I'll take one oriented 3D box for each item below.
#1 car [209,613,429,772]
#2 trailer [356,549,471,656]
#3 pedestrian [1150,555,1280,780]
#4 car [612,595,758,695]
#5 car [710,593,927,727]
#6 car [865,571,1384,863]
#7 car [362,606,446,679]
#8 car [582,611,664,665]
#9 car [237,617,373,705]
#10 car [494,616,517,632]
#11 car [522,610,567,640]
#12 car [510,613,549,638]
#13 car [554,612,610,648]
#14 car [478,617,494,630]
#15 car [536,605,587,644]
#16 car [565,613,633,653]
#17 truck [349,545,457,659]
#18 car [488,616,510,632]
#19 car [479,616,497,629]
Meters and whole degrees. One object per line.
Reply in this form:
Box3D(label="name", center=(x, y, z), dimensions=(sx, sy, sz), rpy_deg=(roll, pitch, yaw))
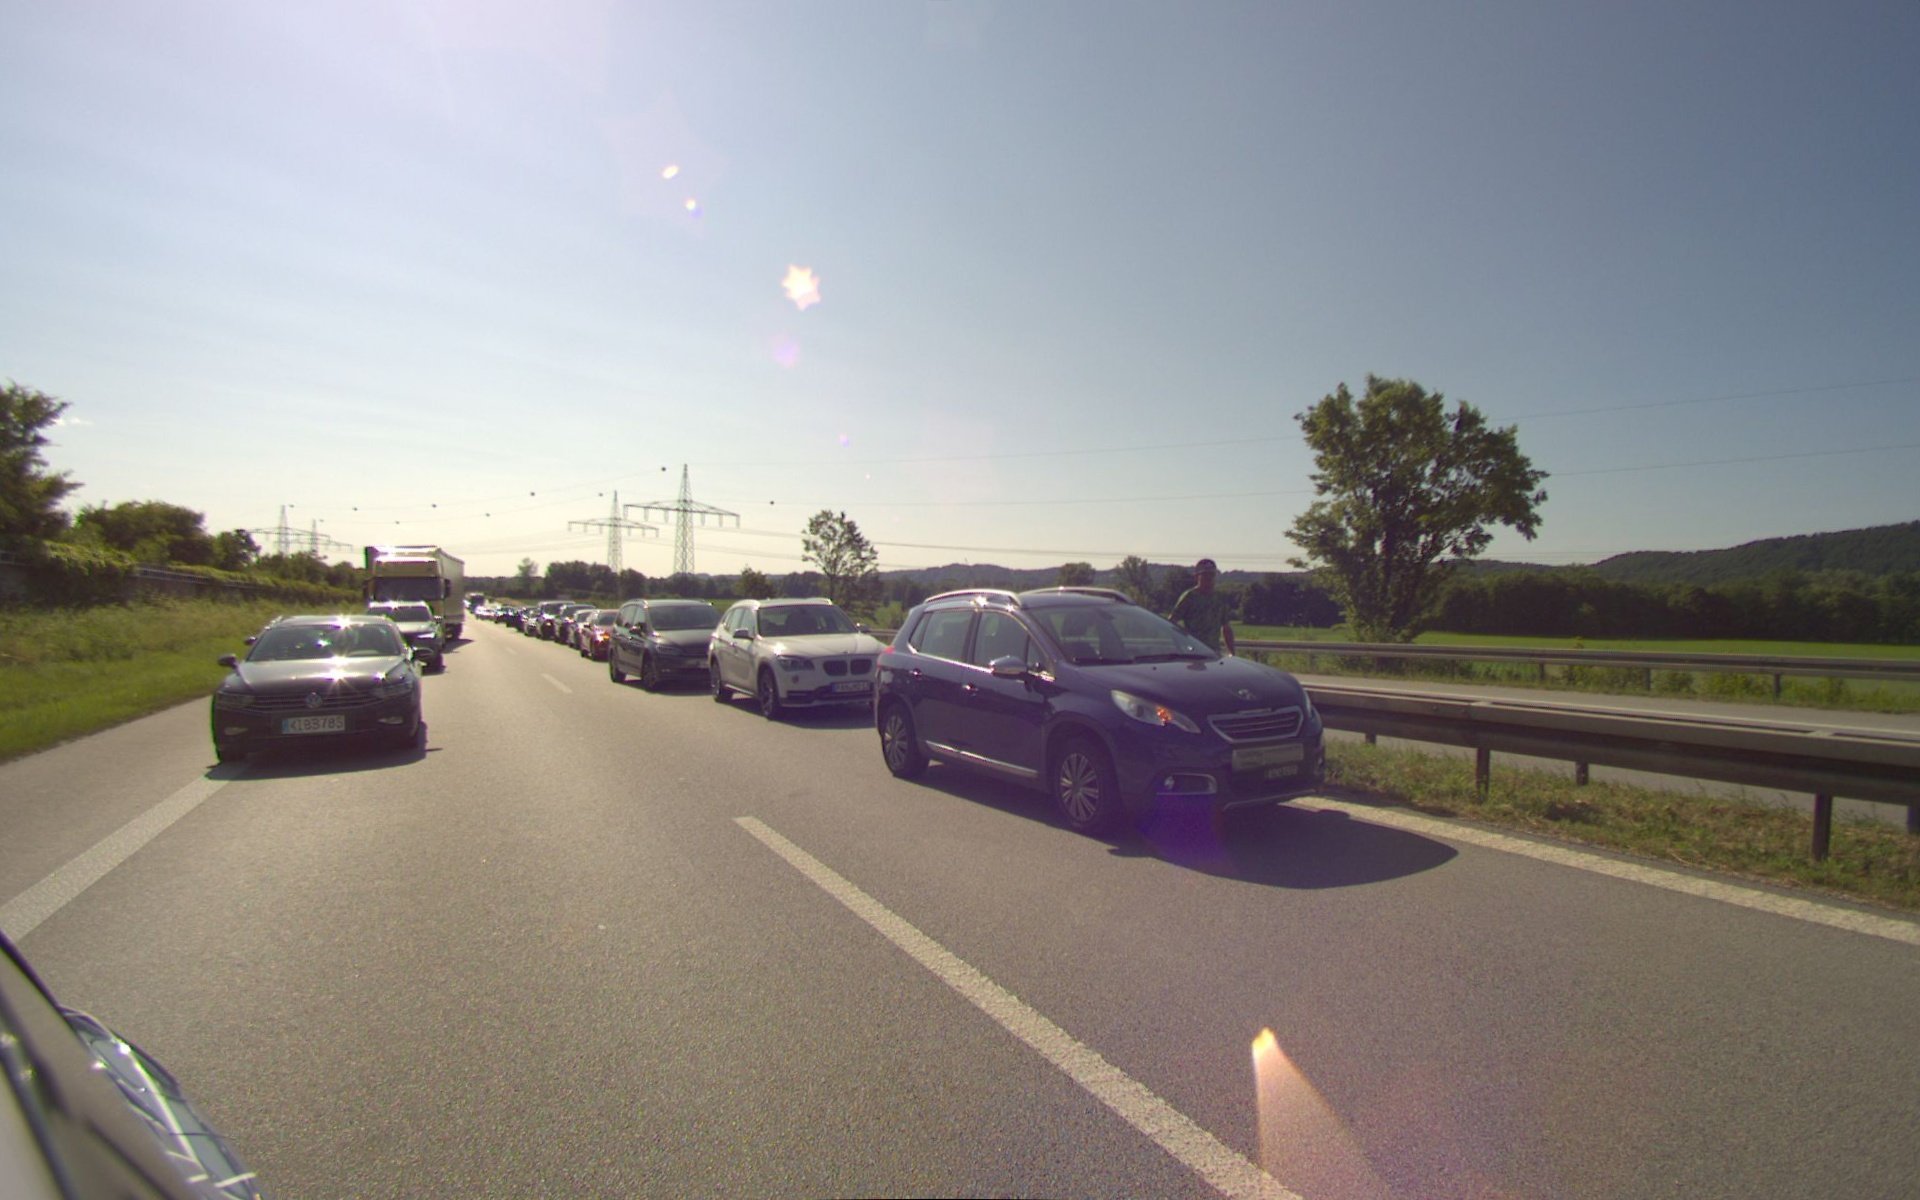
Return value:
Box3D(label="car", center=(-7.150, 0.893, 11.690), dimensions=(1.688, 1.424, 4.339), rpy_deg=(-1, 0, -27))
Box3D(label="trailer", center=(-24.617, 0.081, 46.351), dimensions=(3.332, 4.144, 13.999), rpy_deg=(-1, 0, -23))
Box3D(label="pedestrian", center=(2.108, 0.534, 8.427), dimensions=(0.661, 1.763, 0.817), rpy_deg=(0, -1, -26))
Box3D(label="car", center=(-5.312, 0.780, 19.178), dimensions=(1.790, 1.628, 4.130), rpy_deg=(-1, 0, -27))
Box3D(label="car", center=(-2.166, 0.742, 14.316), dimensions=(1.802, 1.586, 4.177), rpy_deg=(0, -1, -26))
Box3D(label="car", center=(0.902, 0.645, 7.581), dimensions=(1.664, 1.546, 3.961), rpy_deg=(-2, 0, -30))
Box3D(label="car", center=(-14.094, 1.022, 25.843), dimensions=(1.688, 1.636, 4.339), rpy_deg=(-1, 0, -27))
Box3D(label="car", center=(-10.042, 1.072, 29.985), dimensions=(1.789, 1.470, 4.131), rpy_deg=(0, -1, -25))
Box3D(label="car", center=(-12.419, 1.063, 19.424), dimensions=(1.688, 1.436, 4.339), rpy_deg=(-1, 0, -27))
Box3D(label="car", center=(-41.226, 2.164, 91.685), dimensions=(1.789, 1.470, 4.131), rpy_deg=(0, -1, -26))
Box3D(label="car", center=(-22.975, 1.361, 55.863), dimensions=(1.965, 1.542, 4.013), rpy_deg=(0, -1, -27))
Box3D(label="car", center=(-27.306, 1.582, 64.117), dimensions=(1.965, 1.542, 4.013), rpy_deg=(0, -1, -27))
Box3D(label="car", center=(-16.270, 1.259, 43.466), dimensions=(1.862, 1.466, 4.013), rpy_deg=(0, -1, -27))
Box3D(label="car", center=(-57.274, 2.832, 122.286), dimensions=(1.789, 1.470, 4.131), rpy_deg=(0, -1, -25))
Box3D(label="car", center=(-19.527, 1.192, 49.546), dimensions=(1.870, 1.801, 4.213), rpy_deg=(0, -1, -28))
Box3D(label="car", center=(-13.599, 1.202, 37.969), dimensions=(1.863, 1.409, 4.013), rpy_deg=(0, -1, -27))
Box3D(label="truck", center=(-22.204, 0.054, 40.716), dimensions=(3.278, 4.144, 6.993), rpy_deg=(-1, 0, -25))
Box3D(label="car", center=(-45.202, 2.358, 99.145), dimensions=(1.790, 1.470, 4.131), rpy_deg=(-2, 0, -27))
Box3D(label="car", center=(-54.720, 2.568, 117.236), dimensions=(1.789, 1.470, 4.131), rpy_deg=(-2, 0, -25))
